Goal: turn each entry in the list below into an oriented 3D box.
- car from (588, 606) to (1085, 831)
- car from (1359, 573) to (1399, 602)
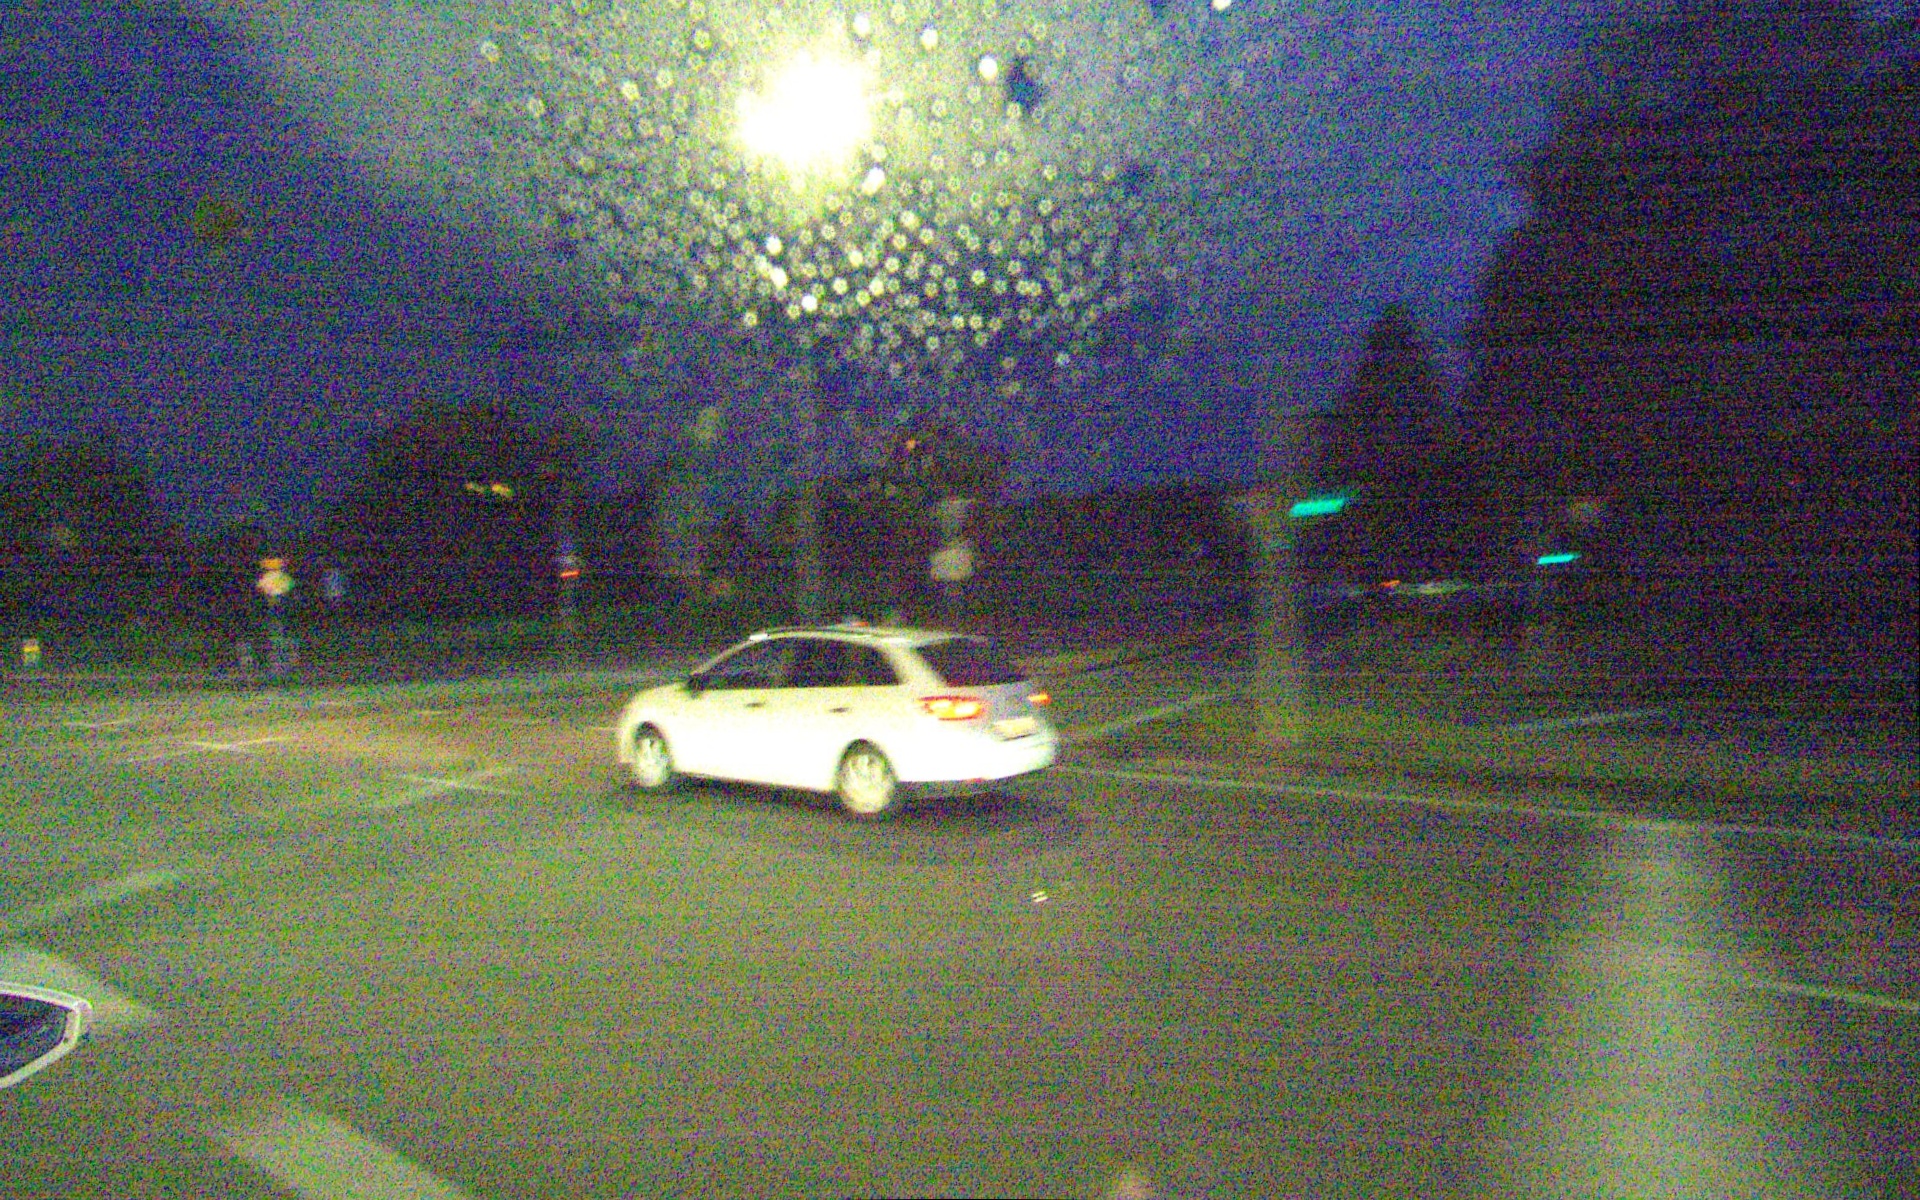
[{"bbox_3d":[-1.154,0.868,8.454,4.062,1.462,1.615,-3,0,34],"label":"car"},{"bbox_3d":[25.918,-0.790,61.909,1.715,1.595,4.035,1,4,32],"label":"car"}]
